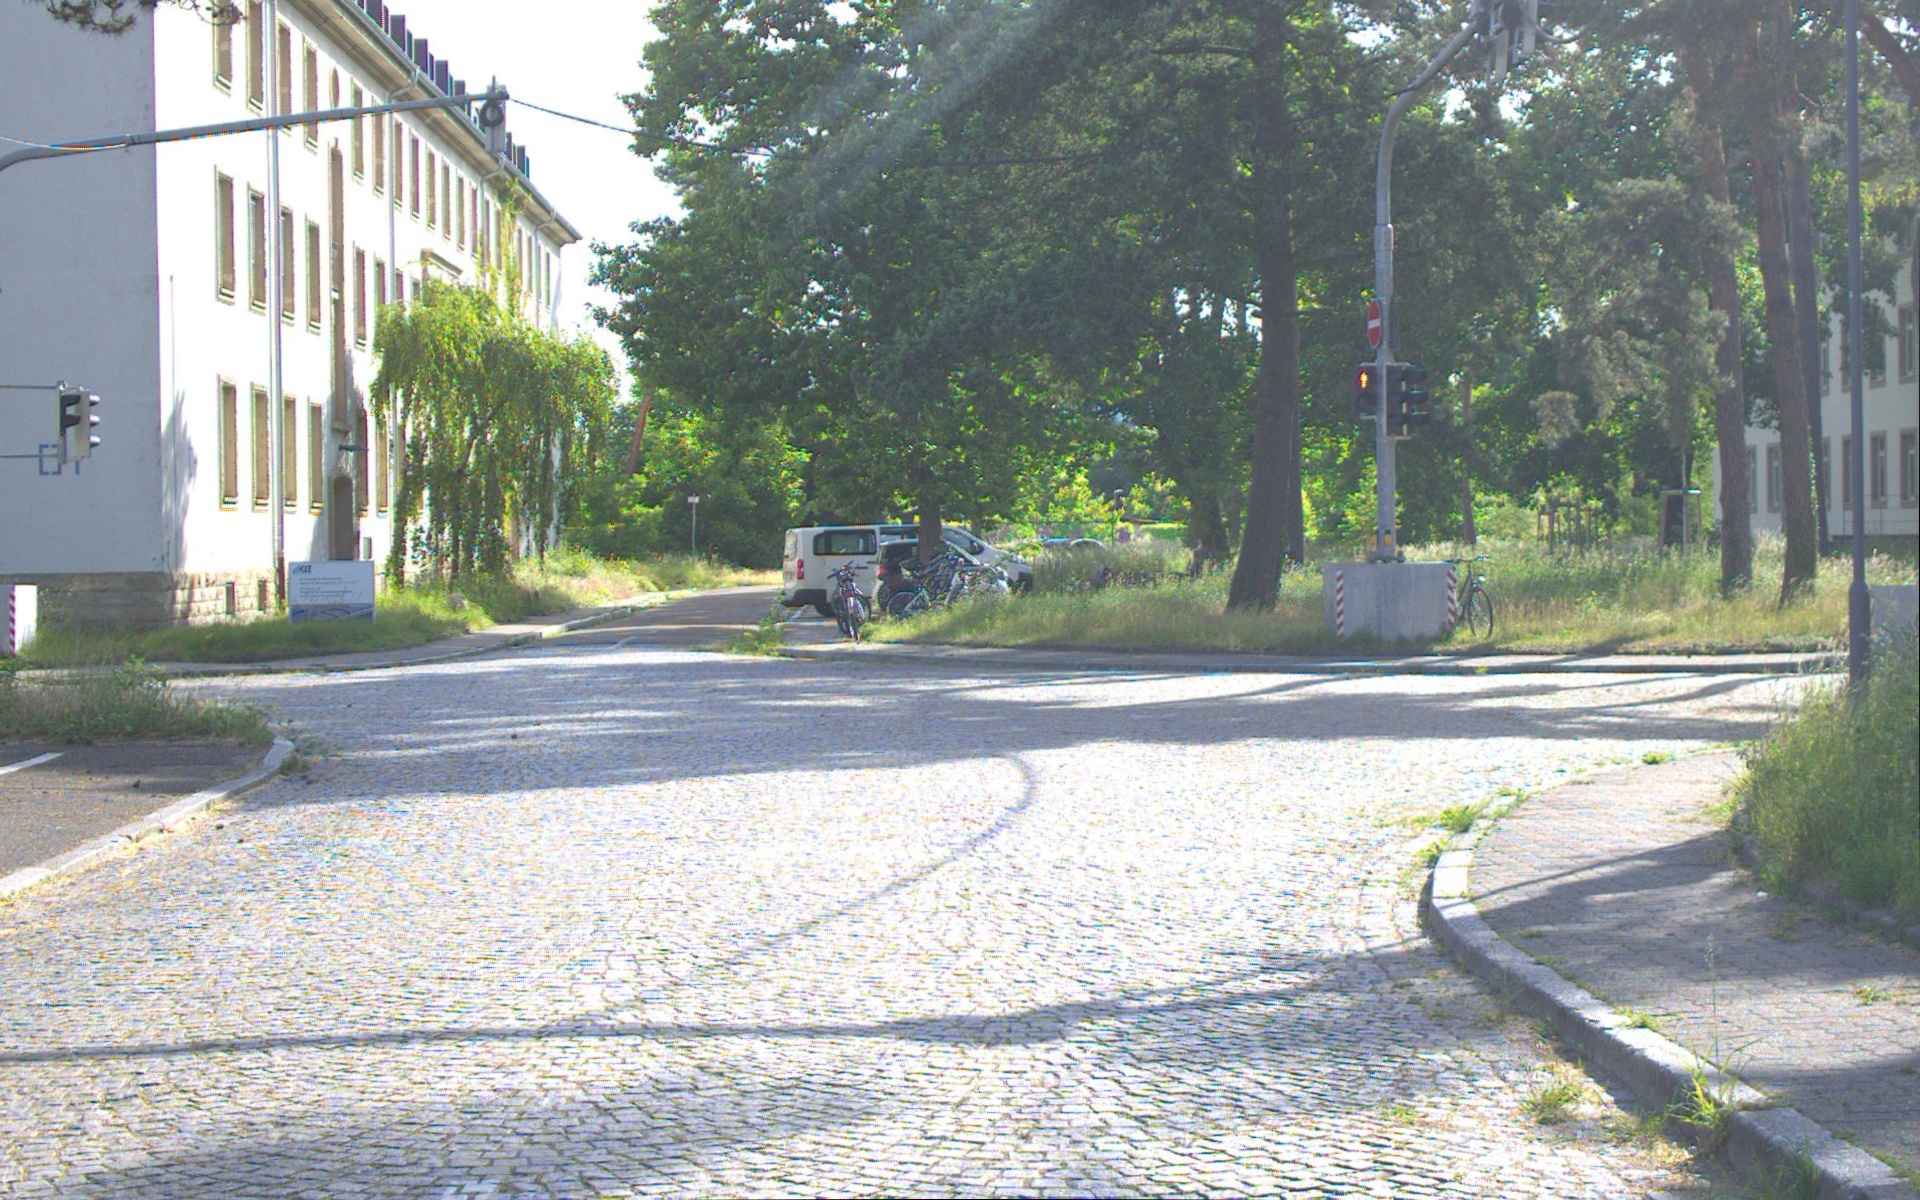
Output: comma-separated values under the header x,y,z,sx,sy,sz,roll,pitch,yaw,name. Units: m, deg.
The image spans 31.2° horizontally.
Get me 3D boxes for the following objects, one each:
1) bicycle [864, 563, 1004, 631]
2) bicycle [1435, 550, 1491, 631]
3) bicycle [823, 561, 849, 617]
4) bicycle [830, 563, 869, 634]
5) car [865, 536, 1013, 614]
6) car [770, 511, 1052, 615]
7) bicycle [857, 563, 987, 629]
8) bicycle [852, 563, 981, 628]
x,y,z,sx,sy,sz,roll,pitch,yaw,name
-0.412,-0.041,54.030,2.108,1.007,0.621,2,0,-8,bicycle
6.144,-0.125,42.023,0.300,0.957,1.586,2,0,-5,bicycle
-2.293,-0.208,63.657,0.417,1.007,1.483,2,0,-1,bicycle
-1.624,-0.032,50.438,0.467,1.007,1.586,2,0,-5,bicycle
-0.435,-0.505,68.503,2.781,1.462,1.671,2,0,-6,car
-1.026,-0.765,72.095,5.520,2.007,2.001,1,0,-19,car
-0.620,-0.061,55.740,2.004,1.007,0.632,2,0,-8,bicycle
-0.717,-0.071,56.622,2.027,1.007,0.627,2,0,-8,bicycle
